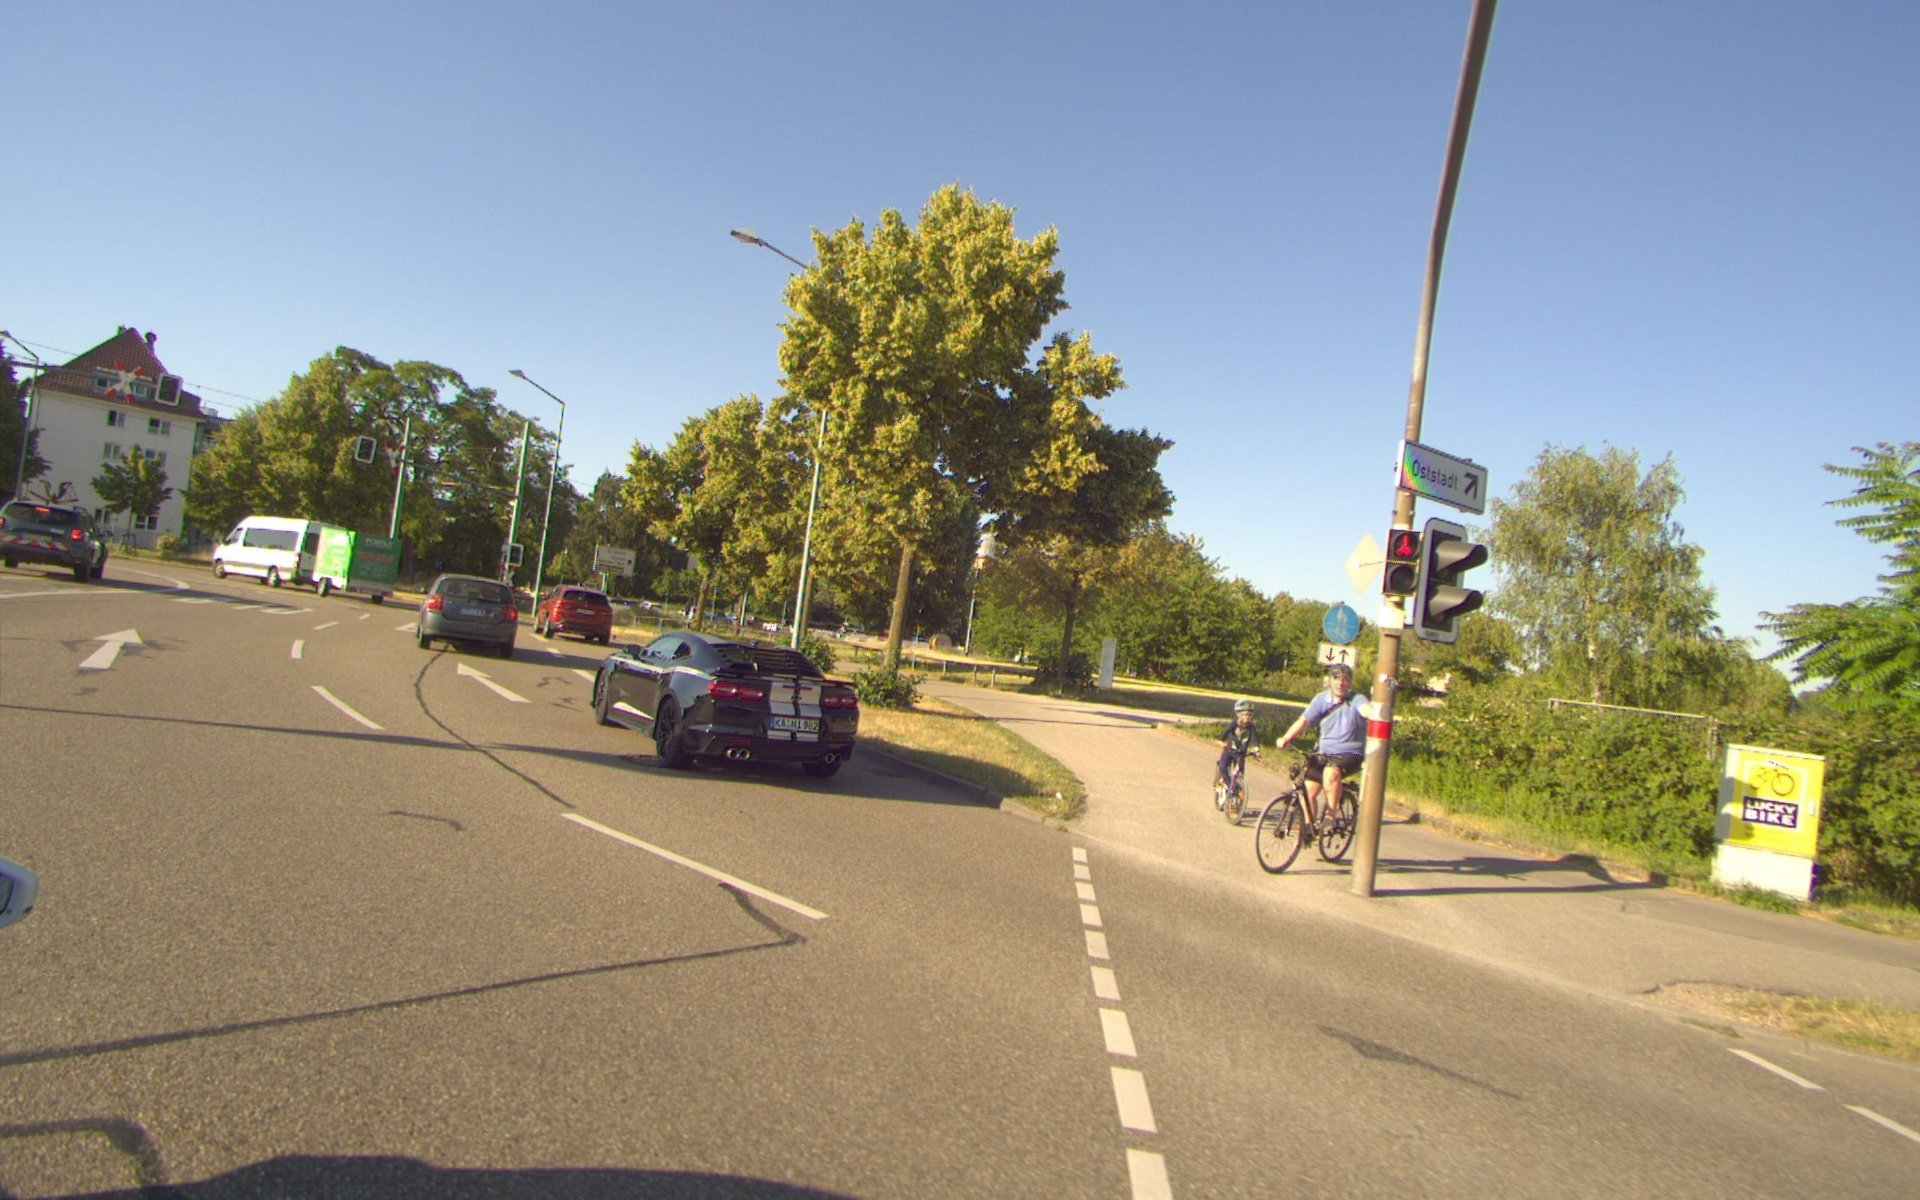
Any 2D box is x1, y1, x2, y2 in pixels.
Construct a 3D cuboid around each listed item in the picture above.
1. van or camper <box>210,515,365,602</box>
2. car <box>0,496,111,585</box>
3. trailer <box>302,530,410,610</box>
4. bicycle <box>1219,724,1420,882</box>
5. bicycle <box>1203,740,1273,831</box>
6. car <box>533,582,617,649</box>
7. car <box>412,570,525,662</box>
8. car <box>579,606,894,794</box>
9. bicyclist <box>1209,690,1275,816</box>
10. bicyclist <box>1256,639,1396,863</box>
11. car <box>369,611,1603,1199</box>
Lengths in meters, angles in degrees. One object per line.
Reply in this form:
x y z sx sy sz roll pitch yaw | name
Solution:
-26.364 -1.665 39.345 6.475 2.657 2.291 6 -4 32 | van or camper
-20.955 -1.337 23.025 1.896 1.678 3.962 9 -3 -36 | car
-21.590 -1.087 35.954 3.453 2.426 2.090 5 -4 41 | trailer
3.337 1.848 9.266 1.890 1.259 0.604 7 -1 -32 | bicycle
3.194 2.110 11.647 0.431 0.795 1.465 7 -2 5 | bicycle
-11.649 0.423 30.301 1.734 1.639 3.794 9 -3 -28 | car
-9.999 0.275 20.375 1.733 1.490 3.795 8 -3 -28 | car
-2.742 0.994 11.342 1.844 1.353 4.585 10 -2 -33 | car
3.225 1.733 11.539 0.457 1.309 0.651 7 -1 5 | bicyclist
3.367 1.373 9.256 0.929 1.922 0.596 6 -1 -32 | bicyclist
-0.076 1.128 3.867 3.927 1.628 1.608 6 -2 23 | car
